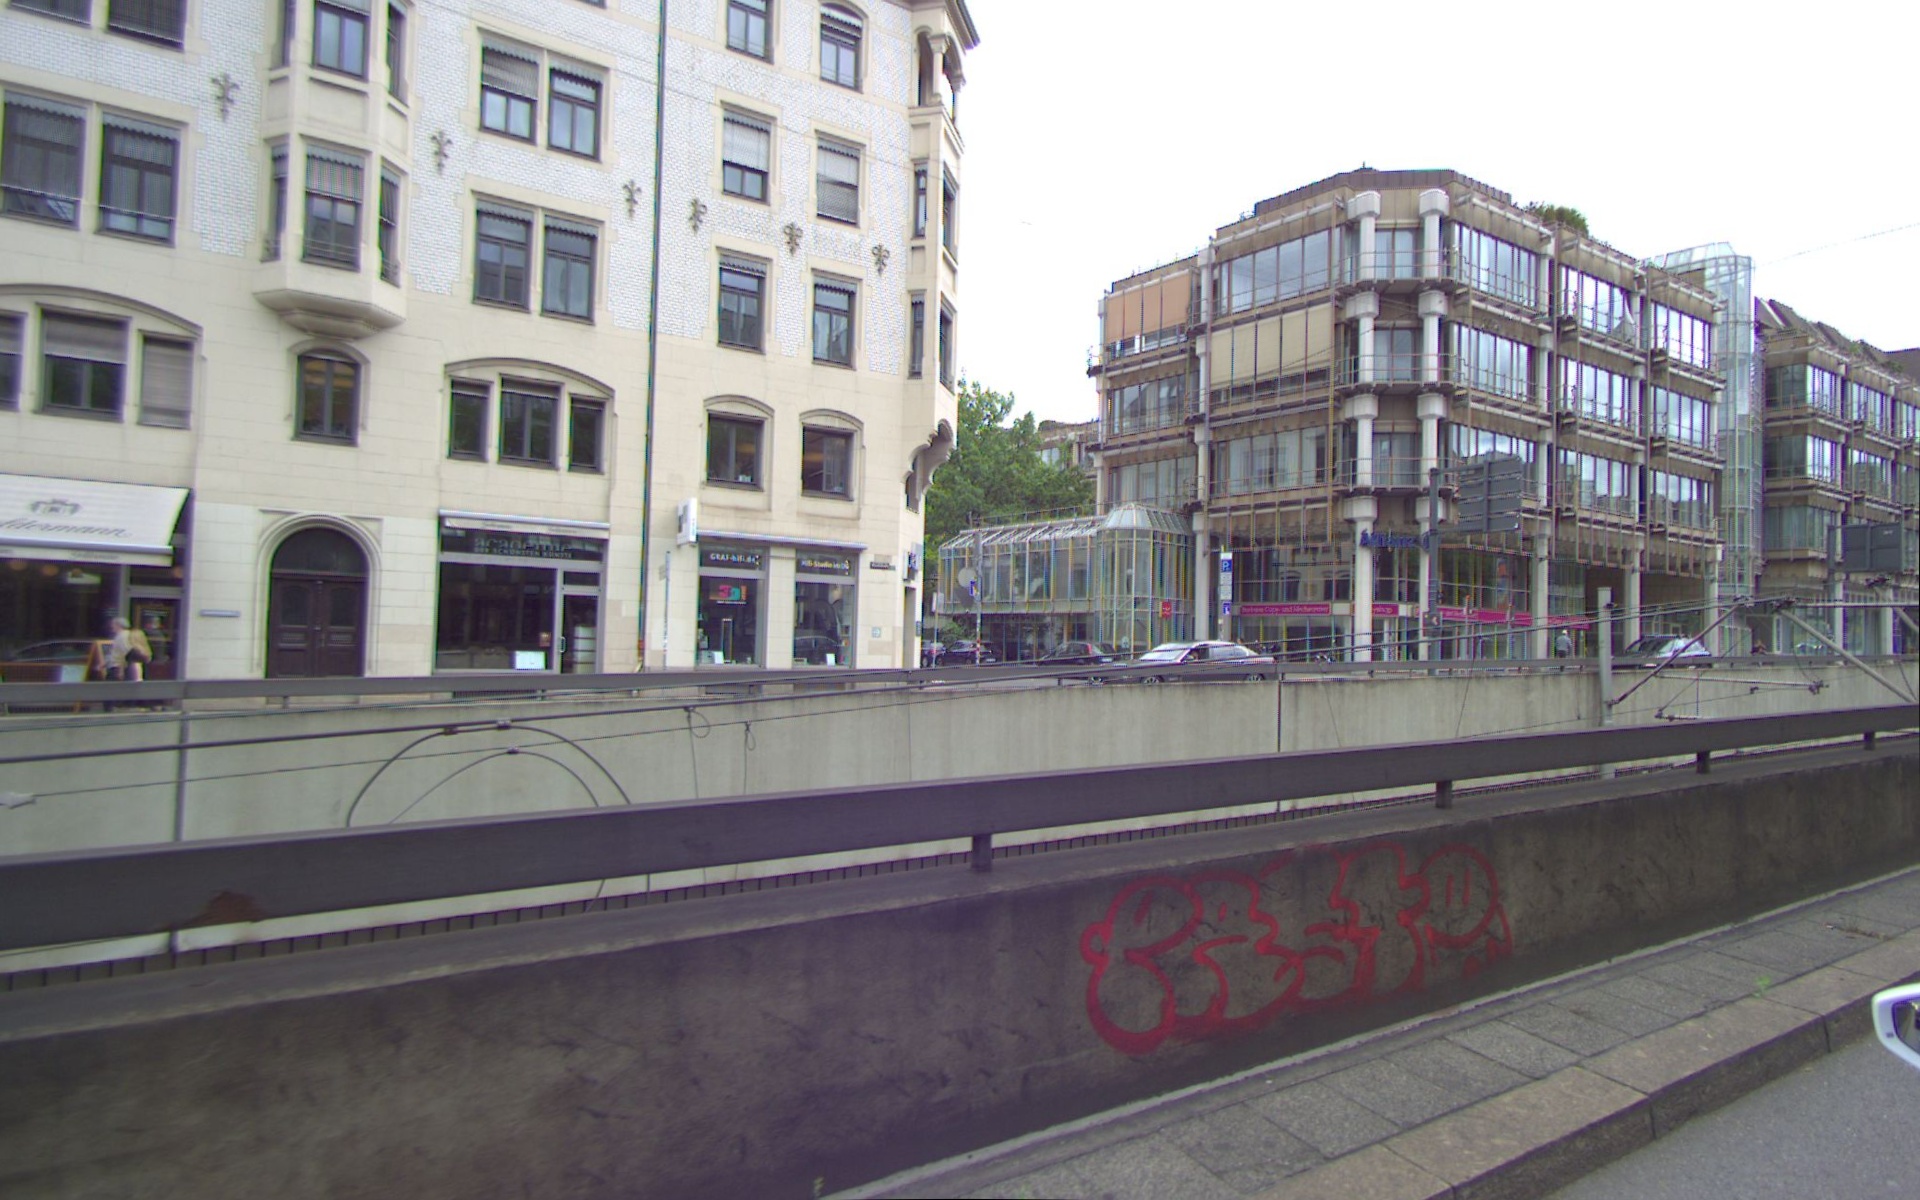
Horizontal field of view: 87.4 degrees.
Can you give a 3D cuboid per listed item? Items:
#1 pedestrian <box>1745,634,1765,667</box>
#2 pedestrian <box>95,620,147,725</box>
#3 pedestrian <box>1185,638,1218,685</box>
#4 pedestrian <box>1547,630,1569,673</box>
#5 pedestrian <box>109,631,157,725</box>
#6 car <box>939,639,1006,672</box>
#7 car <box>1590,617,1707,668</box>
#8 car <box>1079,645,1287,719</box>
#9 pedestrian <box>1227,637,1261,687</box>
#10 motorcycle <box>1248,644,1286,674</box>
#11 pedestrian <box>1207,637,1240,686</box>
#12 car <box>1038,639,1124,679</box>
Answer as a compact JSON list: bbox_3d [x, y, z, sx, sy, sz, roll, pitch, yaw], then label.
[{"bbox_3d":[45.226,2.863,57.143,0.708,1.848,0.767,1,-2,-40],"label":"pedestrian"},{"bbox_3d":[-14.503,1.245,17.368,0.576,1.780,0.477,1,-2,-29],"label":"pedestrian"},{"bbox_3d":[8.120,2.048,33.780,0.839,1.564,0.695,1,-2,-38],"label":"pedestrian"},{"bbox_3d":[25.809,2.214,43.334,0.686,1.816,0.530,1,-2,-30],"label":"pedestrian"},{"bbox_3d":[-13.976,1.301,16.986,0.578,1.558,0.476,1,-2,-36],"label":"pedestrian"},{"bbox_3d":[0.557,2.552,46.892,1.631,1.455,3.429,1,-2,-31],"label":"car"},{"bbox_3d":[25.393,1.555,37.011,4.231,1.791,1.984,1,-2,-31],"label":"car"},{"bbox_3d":[5.416,1.903,24.272,4.827,1.606,1.986,1,-2,-29],"label":"car"},{"bbox_3d":[9.201,1.999,32.565,0.839,1.564,0.695,1,-2,-38],"label":"pedestrian"},{"bbox_3d":[13.622,2.586,44.573,1.925,1.273,0.784,2,-2,-43],"label":"motorcycle"},{"bbox_3d":[8.715,2.022,33.170,0.839,1.564,0.695,1,-2,-38],"label":"pedestrian"},{"bbox_3d":[4.732,2.286,39.628,1.631,1.455,3.429,1,-2,-31],"label":"car"}]
